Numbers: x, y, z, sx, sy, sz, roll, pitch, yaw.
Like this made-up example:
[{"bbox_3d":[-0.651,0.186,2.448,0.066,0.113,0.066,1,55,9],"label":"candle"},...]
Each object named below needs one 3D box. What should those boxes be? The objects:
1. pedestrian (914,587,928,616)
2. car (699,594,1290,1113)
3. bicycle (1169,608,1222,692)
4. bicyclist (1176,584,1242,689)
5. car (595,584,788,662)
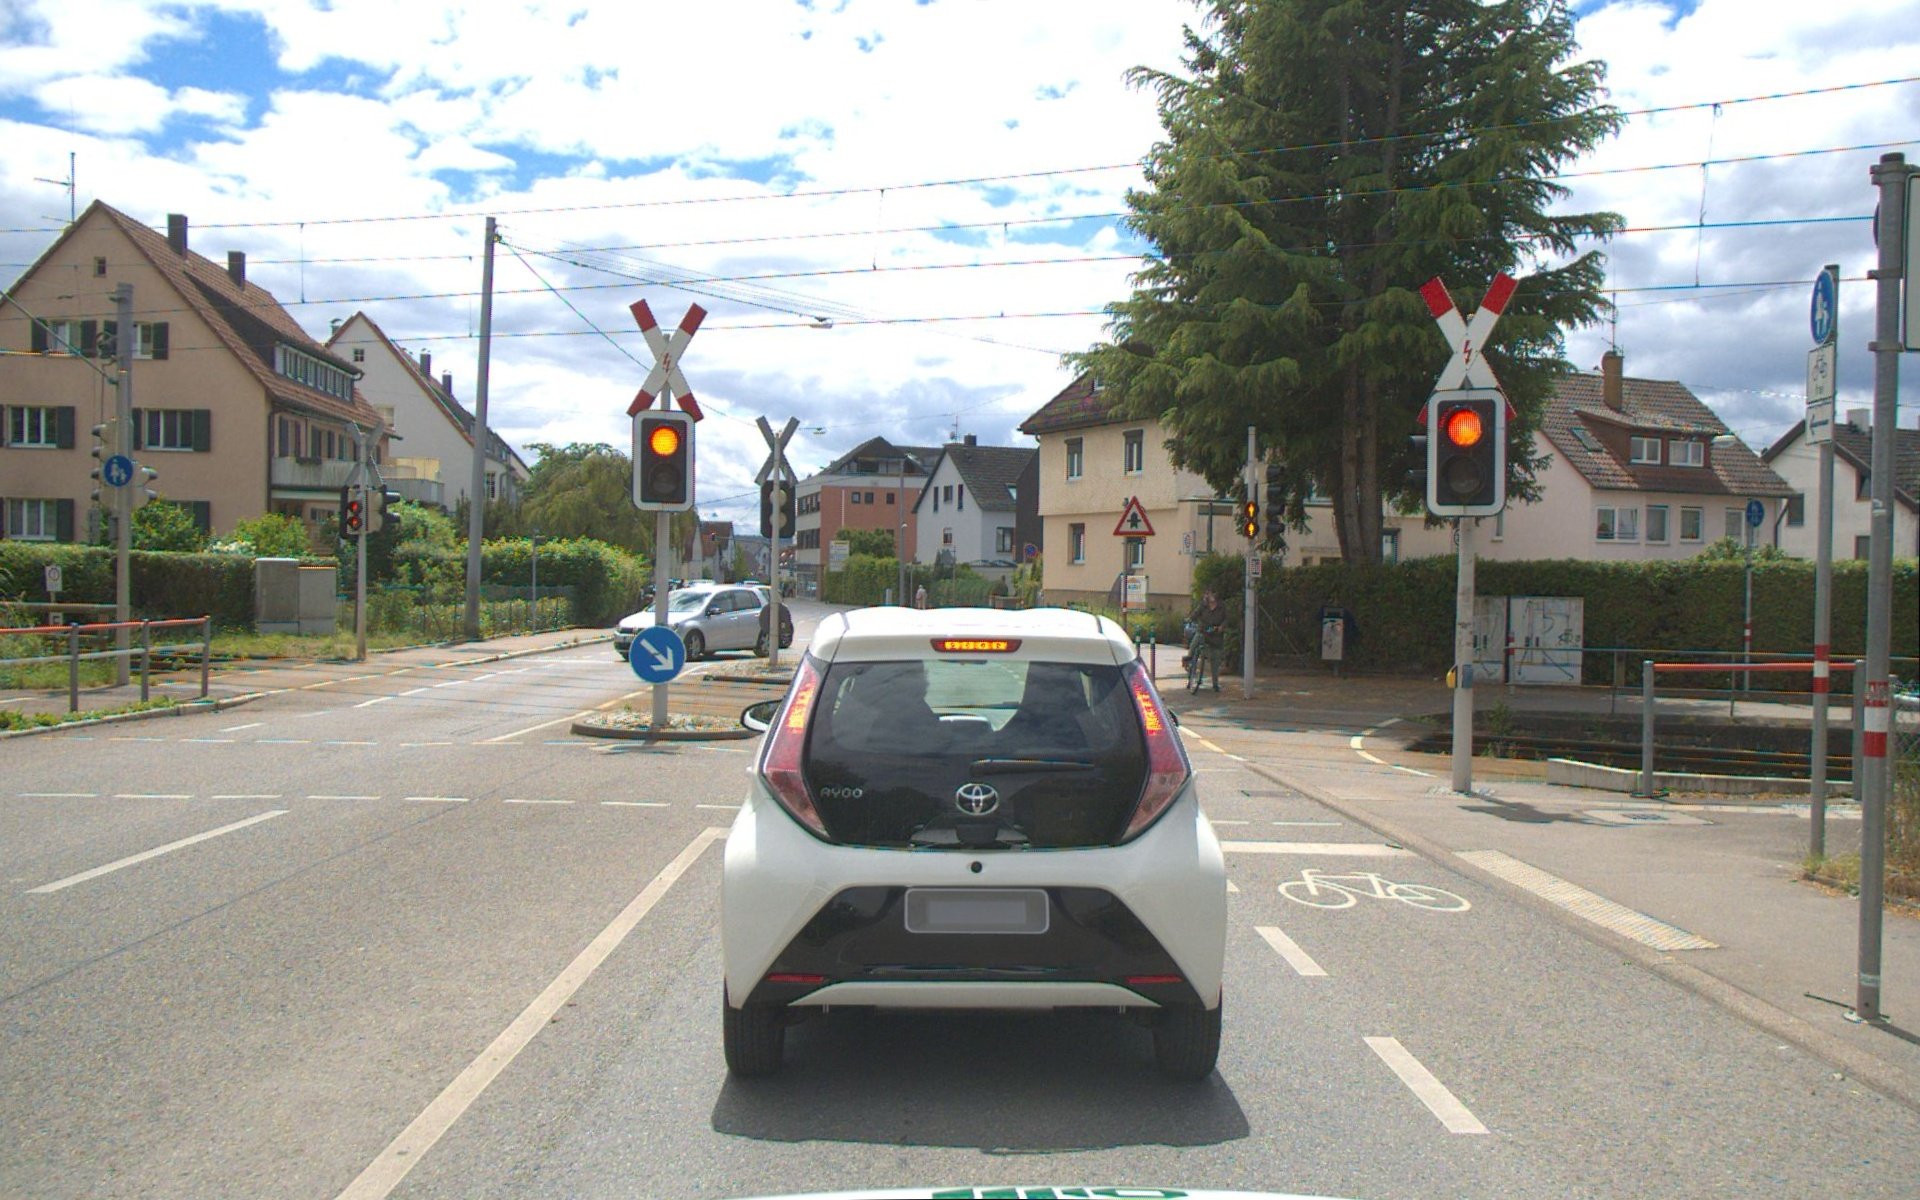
[{"bbox_3d":[-2.171,0.064,92.411,0.711,1.604,0.803,2,0,-1],"label":"pedestrian"},{"bbox_3d":[-0.018,0.725,6.611,1.687,1.467,3.705,1,0,-4],"label":"car"},{"bbox_3d":[3.727,0.774,26.243,0.448,1.192,1.477,-2,3,-6],"label":"bicycle"},{"bbox_3d":[3.942,0.566,26.226,0.825,1.580,0.755,-2,3,-7],"label":"bicyclist"},{"bbox_3d":[-5.508,0.467,34.439,1.868,1.466,4.093,2,0,27],"label":"car"}]
